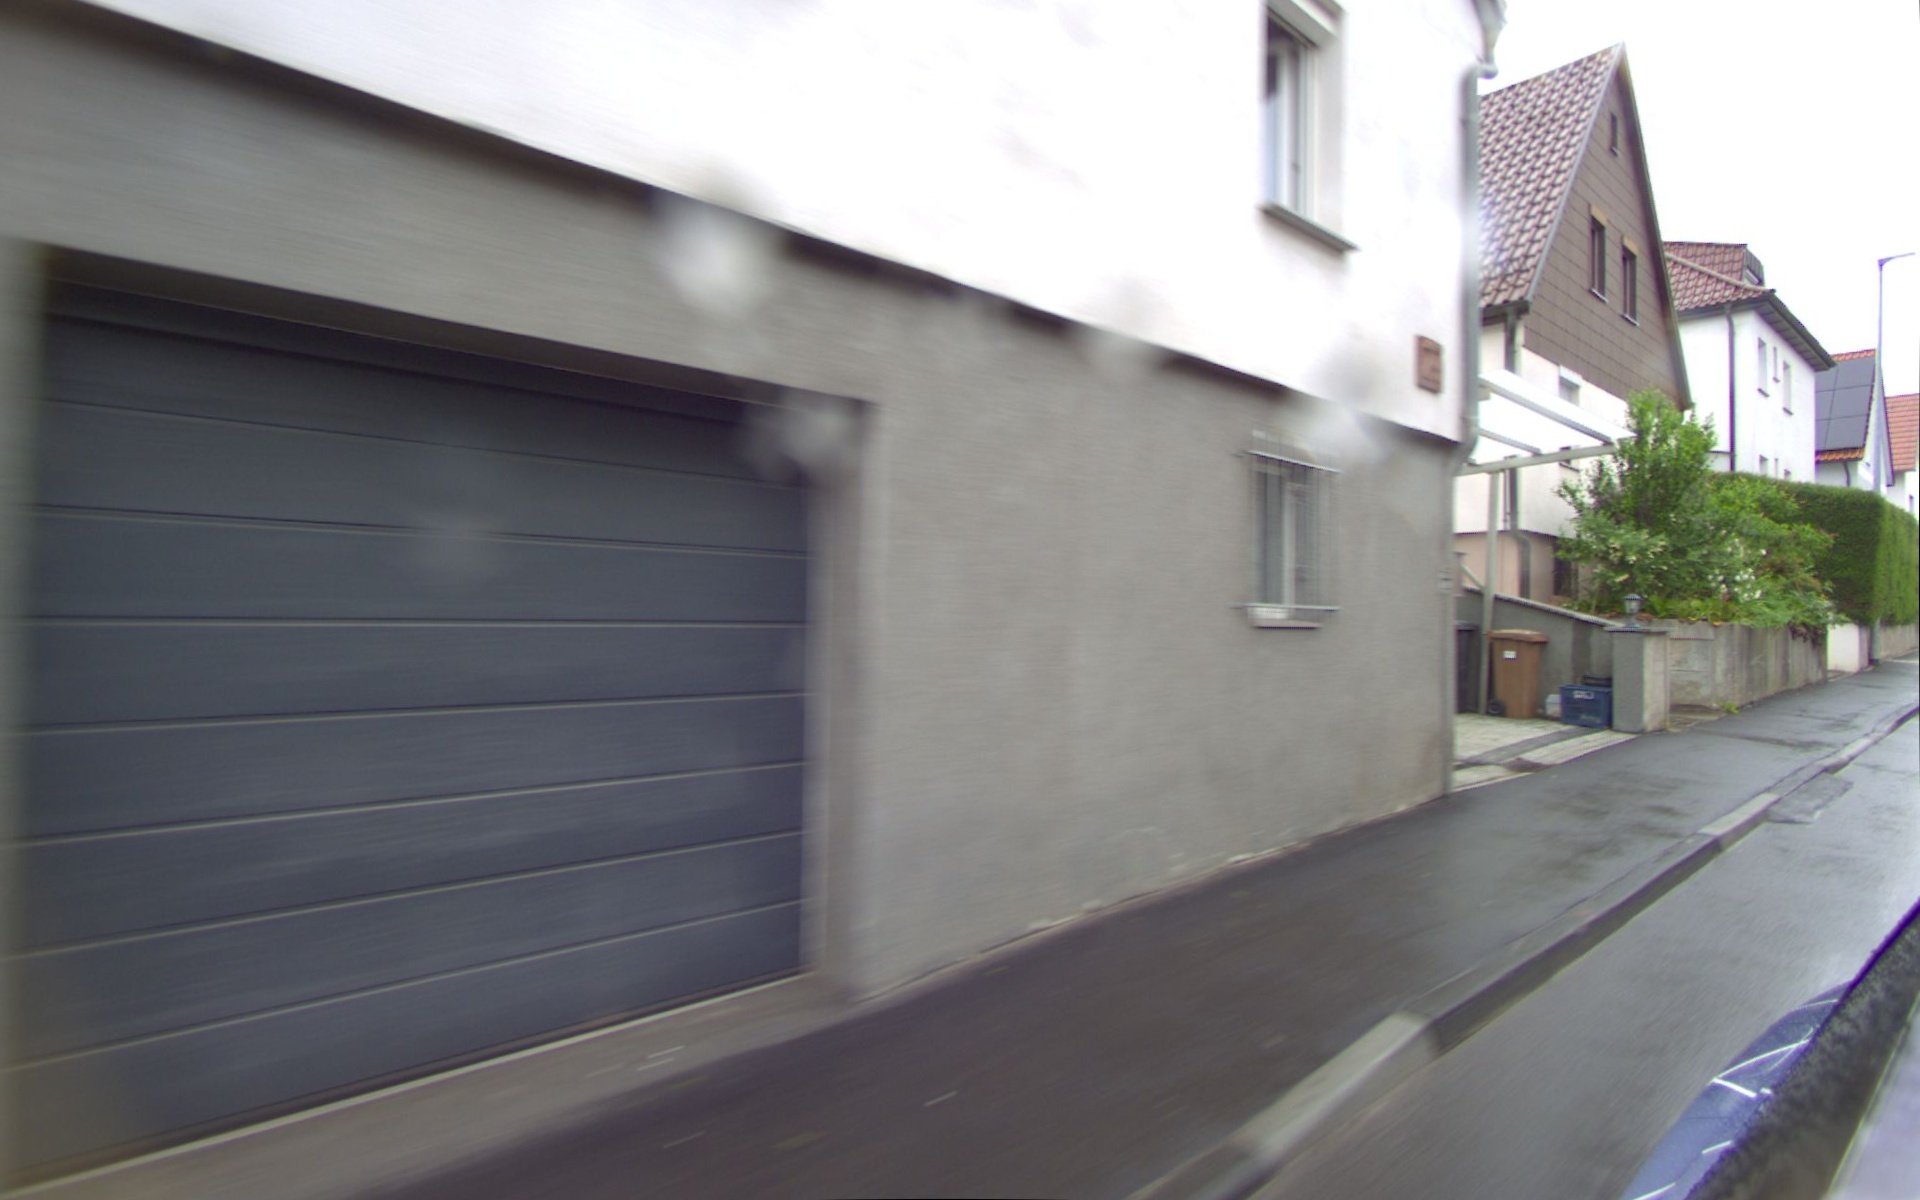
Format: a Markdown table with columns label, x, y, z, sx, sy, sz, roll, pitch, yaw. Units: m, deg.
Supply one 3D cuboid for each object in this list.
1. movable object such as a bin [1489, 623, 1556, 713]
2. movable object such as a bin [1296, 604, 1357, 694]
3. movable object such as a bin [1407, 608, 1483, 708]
| label | x | y | z | sx | sy | sz | roll | pitch | yaw |
| --- | --- | --- | --- | --- | --- | --- | --- | --- | --- |
| movable object such as a bin | 6.035 | 0.715 | 10.859 | 0.468 | 0.916 | 0.494 | 0 | 0 | -40 |
| movable object such as a bin | 4.515 | 0.589 | 12.480 | 0.486 | 1.074 | 0.543 | 0 | 0 | -40 |
| movable object such as a bin | 5.465 | 0.629 | 11.403 | 0.517 | 1.074 | 0.619 | 0 | 0 | -40 |
